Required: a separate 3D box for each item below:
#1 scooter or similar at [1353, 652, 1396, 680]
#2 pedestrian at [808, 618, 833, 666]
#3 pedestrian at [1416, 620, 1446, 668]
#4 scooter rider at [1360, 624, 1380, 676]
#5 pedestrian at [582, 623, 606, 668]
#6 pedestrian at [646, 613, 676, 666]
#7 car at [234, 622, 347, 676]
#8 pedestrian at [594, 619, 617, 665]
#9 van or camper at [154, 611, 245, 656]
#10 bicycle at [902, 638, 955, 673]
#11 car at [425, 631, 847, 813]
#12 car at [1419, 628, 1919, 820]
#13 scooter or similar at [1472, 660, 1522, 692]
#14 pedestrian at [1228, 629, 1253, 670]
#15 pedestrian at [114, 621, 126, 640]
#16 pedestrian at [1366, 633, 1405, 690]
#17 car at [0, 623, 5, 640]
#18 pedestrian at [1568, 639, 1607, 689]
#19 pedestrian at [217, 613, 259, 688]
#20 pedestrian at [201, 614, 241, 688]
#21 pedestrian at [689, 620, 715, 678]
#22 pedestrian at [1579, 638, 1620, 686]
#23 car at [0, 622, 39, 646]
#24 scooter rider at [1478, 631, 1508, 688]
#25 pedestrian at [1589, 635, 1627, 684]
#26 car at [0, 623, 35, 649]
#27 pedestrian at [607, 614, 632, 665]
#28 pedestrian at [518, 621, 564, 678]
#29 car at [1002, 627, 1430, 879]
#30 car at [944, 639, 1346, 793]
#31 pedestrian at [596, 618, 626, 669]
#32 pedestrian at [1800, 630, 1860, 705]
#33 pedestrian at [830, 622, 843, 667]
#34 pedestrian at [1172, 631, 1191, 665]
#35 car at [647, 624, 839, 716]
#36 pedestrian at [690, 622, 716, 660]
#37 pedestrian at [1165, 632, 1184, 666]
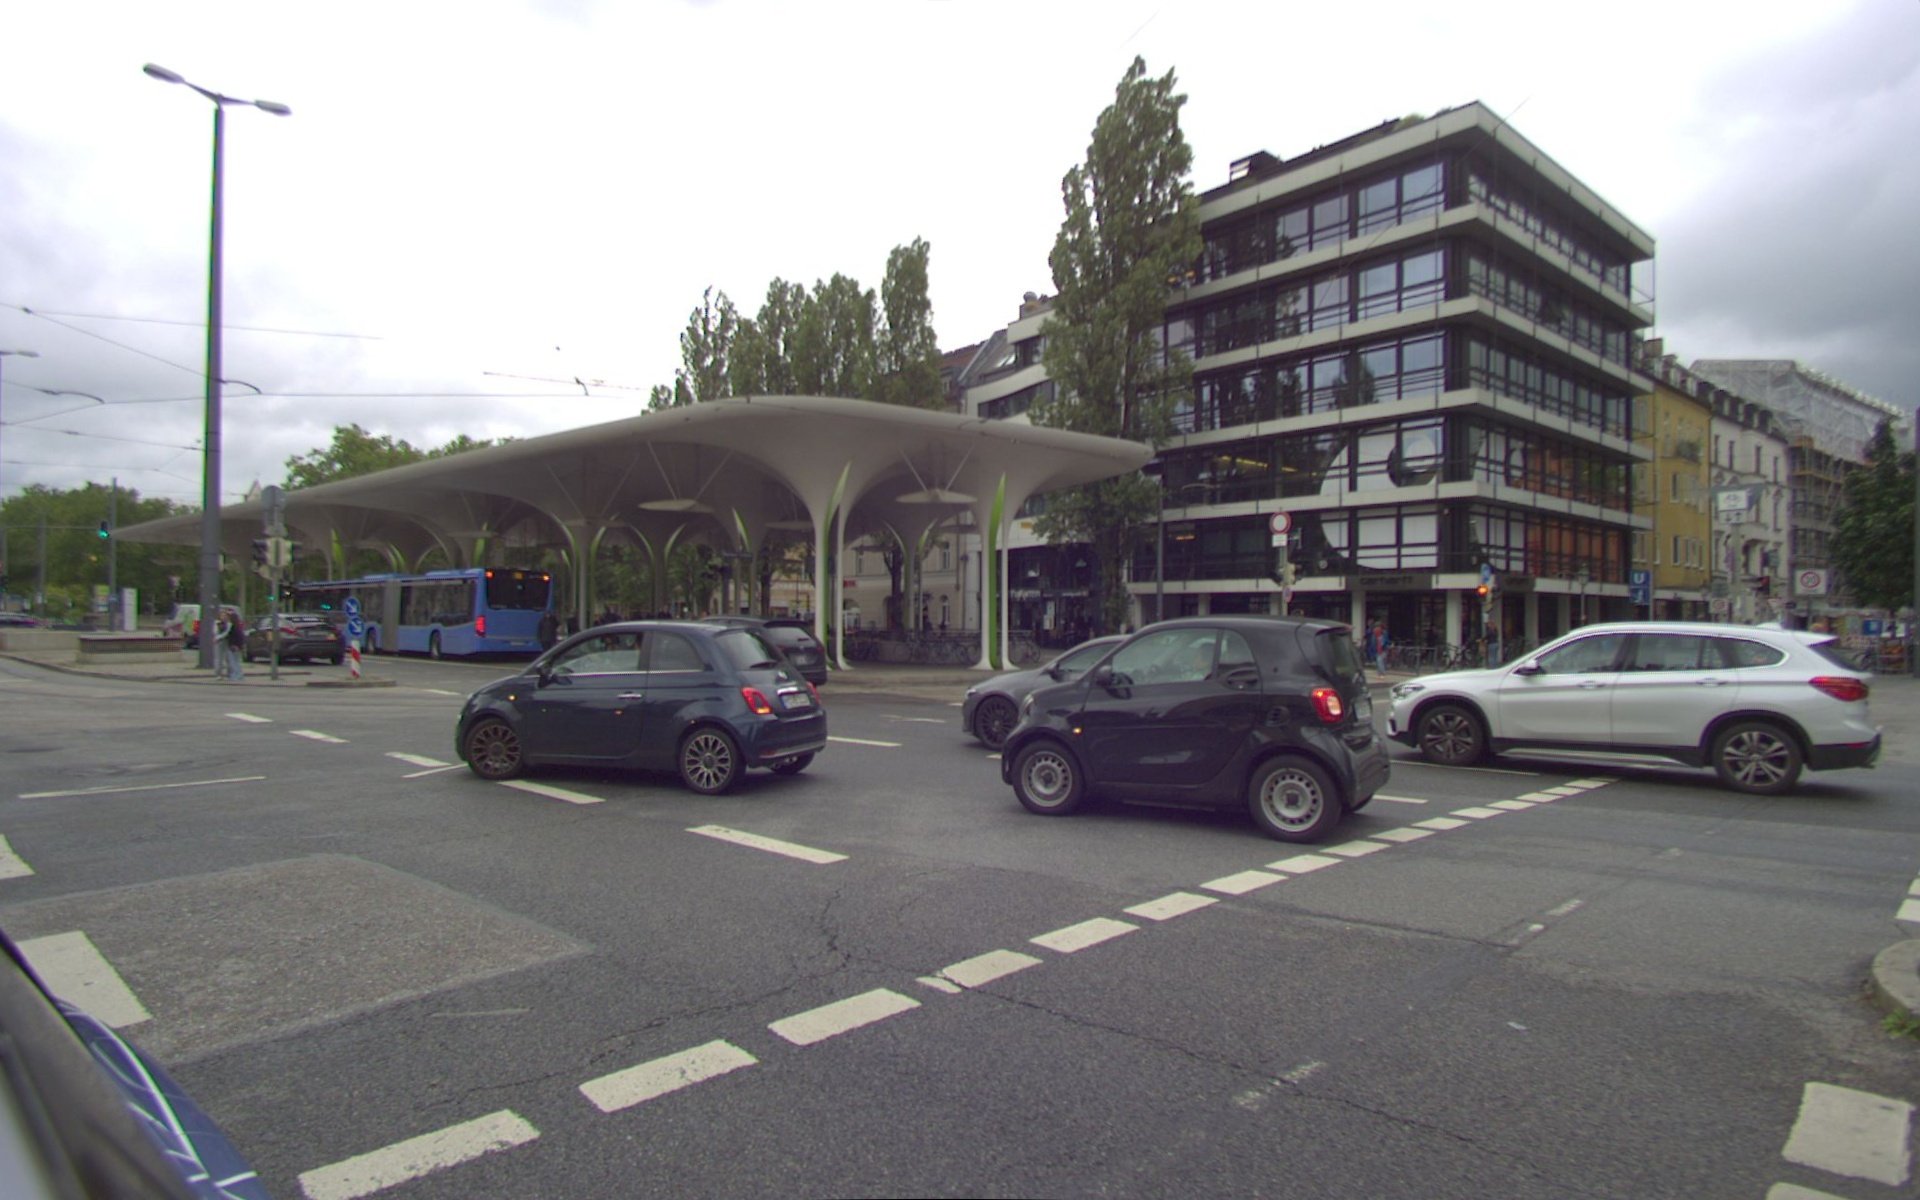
[{"bbox_3d":[14.955,2.368,36.514,1.397,0.989,0.411,-1,-2,27],"label":"scooter or similar"},{"bbox_3d":[-4.809,1.449,34.909,0.589,1.623,0.624,2,-2,-45],"label":"pedestrian"},{"bbox_3d":[20.361,1.895,43.741,0.823,2.029,0.918,1,-2,-43],"label":"pedestrian"},{"bbox_3d":[14.833,1.795,36.596,0.607,1.853,0.550,-1,-2,27],"label":"scooter rider"},{"bbox_3d":[-12.430,1.544,34.336,0.471,1.516,0.606,-1,-2,39],"label":"pedestrian"},{"bbox_3d":[-10.391,1.362,35.172,0.793,1.831,0.707,1,-2,-34],"label":"pedestrian"},{"bbox_3d":[-20.112,1.430,30.322,4.278,1.520,1.647,-1,-2,40],"label":"car"},{"bbox_3d":[-12.325,1.442,35.203,0.533,1.584,0.556,-1,-2,41],"label":"pedestrian"},{"bbox_3d":[-32.937,1.424,43.788,5.435,1.840,1.909,-1,-2,39],"label":"van or camper"},{"bbox_3d":[-1.116,1.897,34.913,0.633,1.133,2.169,1,-2,-39],"label":"bicycle"},{"bbox_3d":[-2.977,1.034,9.456,3.509,1.457,1.541,0,-3,17],"label":"car"},{"bbox_3d":[7.143,1.107,10.542,3.997,1.608,1.681,-1,-2,40],"label":"car"},{"bbox_3d":[17.769,2.511,33.489,0.408,0.989,1.407,2,-2,-38],"label":"scooter or similar"},{"bbox_3d":[12.684,2.225,45.757,0.710,1.814,0.829,1,-2,-40],"label":"pedestrian"},{"bbox_3d":[-72.580,2.646,87.458,0.588,1.570,0.624,-1,-3,40],"label":"pedestrian"},{"bbox_3d":[12.549,1.805,29.870,0.845,1.654,0.790,2,-2,-44],"label":"pedestrian"},{"bbox_3d":[-83.628,2.642,86.975,4.609,1.389,1.656,-1,-4,40],"label":"car"},{"bbox_3d":[21.124,2.131,34.070,0.777,1.654,0.860,1,-2,-37],"label":"pedestrian"},{"bbox_3d":[-15.899,1.112,22.297,0.551,1.631,0.486,0,-2,7],"label":"pedestrian"},{"bbox_3d":[-16.303,1.121,22.333,0.514,1.631,0.464,0,-2,-5],"label":"pedestrian"},{"bbox_3d":[-7.900,1.483,30.935,0.540,1.733,0.616,2,-2,-41],"label":"pedestrian"},{"bbox_3d":[21.861,2.119,34.590,0.730,1.600,0.951,1,-2,-37],"label":"pedestrian"},{"bbox_3d":[-58.299,2.049,62.268,4.031,1.427,1.824,-1,-2,40],"label":"car"},{"bbox_3d":[17.692,1.956,33.615,0.610,1.849,0.669,2,-2,-38],"label":"scooter rider"},{"bbox_3d":[22.506,2.035,35.142,0.789,1.666,0.854,1,-2,-37],"label":"pedestrian"},{"bbox_3d":[-70.120,2.646,75.041,3.867,1.854,1.886,-2,-2,42],"label":"car"},{"bbox_3d":[-11.699,1.366,34.761,0.693,1.724,0.759,1,-2,-27],"label":"pedestrian"},{"bbox_3d":[-12.526,1.466,30.274,0.834,1.694,0.968,0,-2,16],"label":"pedestrian"},{"bbox_3d":[1.919,1.000,7.687,2.829,1.546,1.491,-1,-3,33],"label":"car"},{"bbox_3d":[2.024,1.182,11.708,4.163,1.422,1.974,-1,-2,39],"label":"car"},{"bbox_3d":[-11.649,1.436,33.804,0.741,1.687,0.629,0,-1,13],"label":"pedestrian"},{"bbox_3d":[19.352,1.484,22.536,0.805,1.631,0.834,-1,-2,26],"label":"pedestrian"},{"bbox_3d":[-5.328,1.909,43.762,0.418,1.947,0.481,0,-2,13],"label":"pedestrian"},{"bbox_3d":[10.827,2.337,49.517,0.585,1.604,0.675,1,-2,-39],"label":"pedestrian"},{"bbox_3d":[-4.430,1.317,20.371,3.998,1.674,1.764,-1,-2,42],"label":"car"},{"bbox_3d":[-11.093,1.774,43.750,0.801,1.623,0.791,1,-2,-42],"label":"pedestrian"},{"bbox_3d":[10.309,2.351,48.738,0.585,1.604,0.675,1,-2,-39],"label":"pedestrian"}]
